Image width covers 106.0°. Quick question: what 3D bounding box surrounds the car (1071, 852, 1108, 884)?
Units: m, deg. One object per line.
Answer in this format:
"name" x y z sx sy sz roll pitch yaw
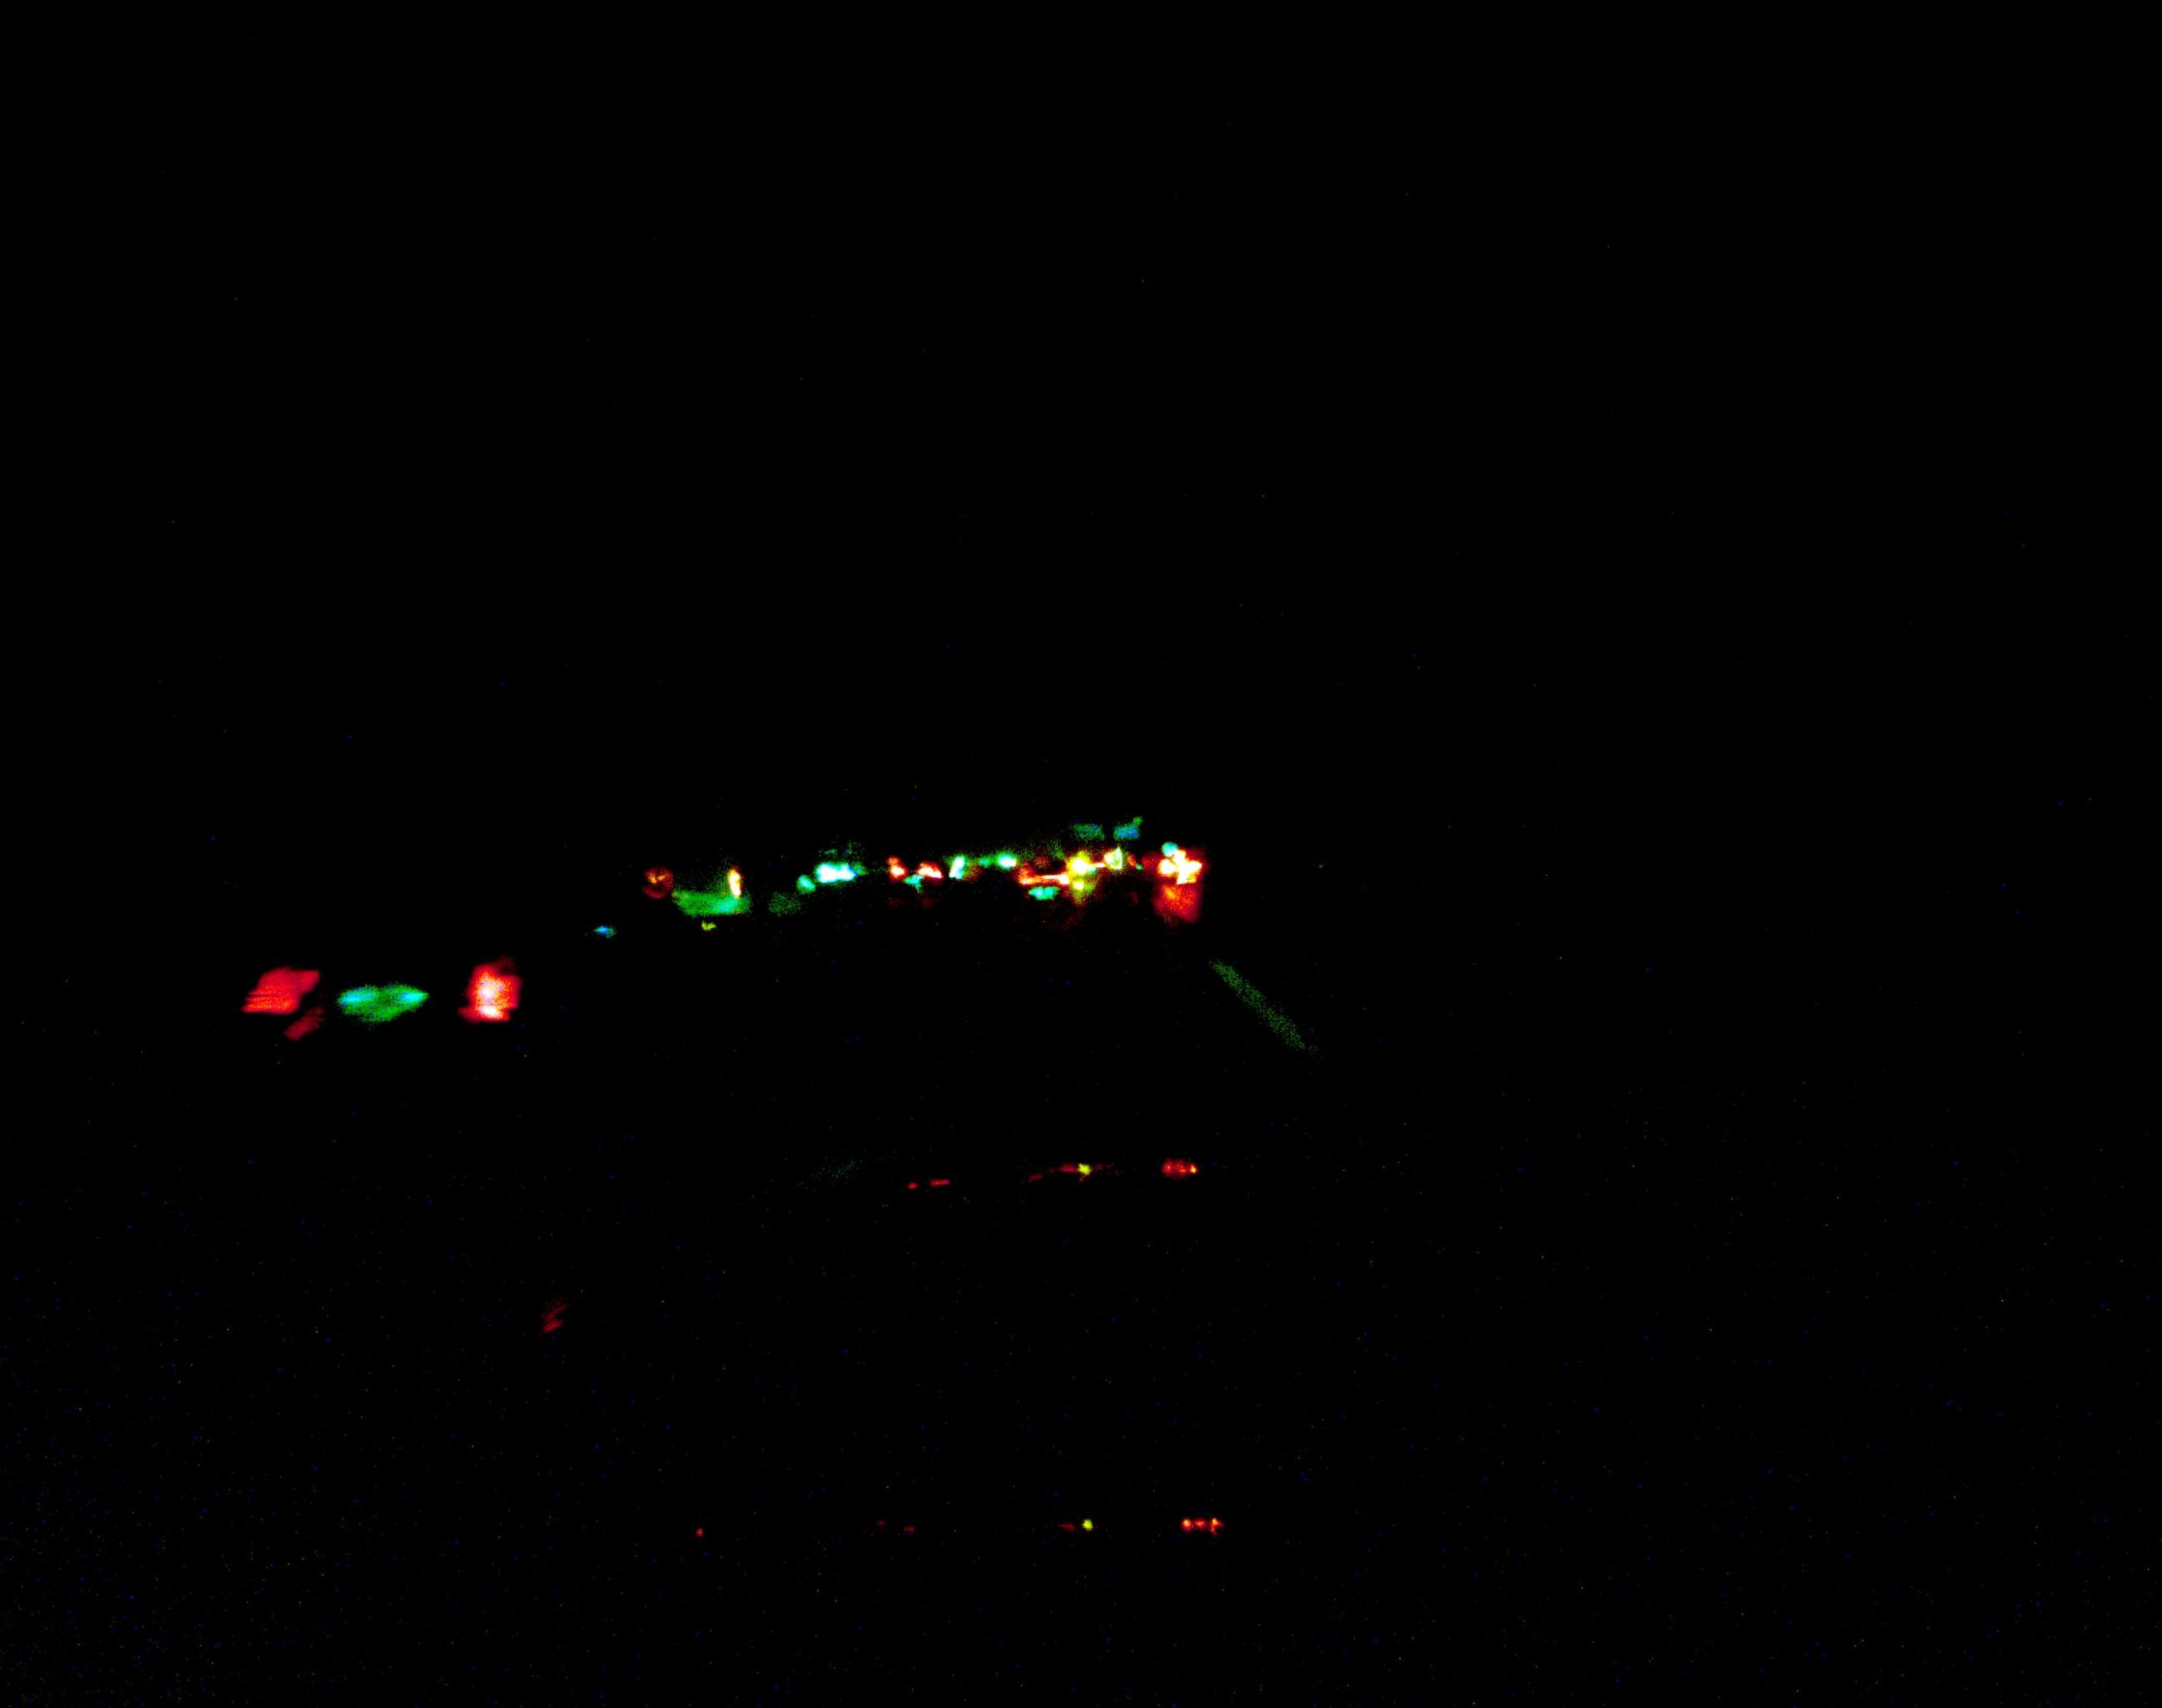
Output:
"car" 0.550 0.801 47.586 2.031 1.761 4.517 0 -1 2

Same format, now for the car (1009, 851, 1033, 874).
"car" -6.064 0.854 82.074 2.260 2.273 5.376 0 -1 -4

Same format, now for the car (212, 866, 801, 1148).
"car" -3.816 0.851 6.498 1.651 1.431 4.246 -1 0 0

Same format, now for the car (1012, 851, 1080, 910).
"car" -1.006 0.753 25.436 1.758 1.689 4.003 -1 0 2

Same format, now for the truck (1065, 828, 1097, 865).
"truck" 0.117 -1.085 127.964 4.236 5.444 10.893 0 -1 3

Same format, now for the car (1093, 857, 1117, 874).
"car" 3.006 1.443 101.255 2.822 2.014 5.513 0 -1 2

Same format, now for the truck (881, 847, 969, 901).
"truck" -6.746 0.850 36.084 2.849 2.201 5.856 0 -1 -1

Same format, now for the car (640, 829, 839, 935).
"car" -7.687 0.579 19.152 2.115 2.104 5.632 -1 0 2

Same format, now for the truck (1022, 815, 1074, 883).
"truck" -2.484 -0.291 62.234 3.647 4.737 9.843 0 -1 -2

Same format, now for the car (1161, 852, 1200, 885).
"car" 5.453 0.774 45.141 1.870 1.762 4.002 0 -1 2

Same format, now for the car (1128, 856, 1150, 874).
"car" 5.620 1.057 79.246 1.986 1.704 4.460 0 -1 2

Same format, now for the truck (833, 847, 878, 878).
"truck" -22.339 0.845 80.925 2.442 2.999 6.704 0 -1 2

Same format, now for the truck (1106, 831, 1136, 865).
"truck" 6.318 -0.830 129.881 4.149 5.215 9.949 0 -1 -1
